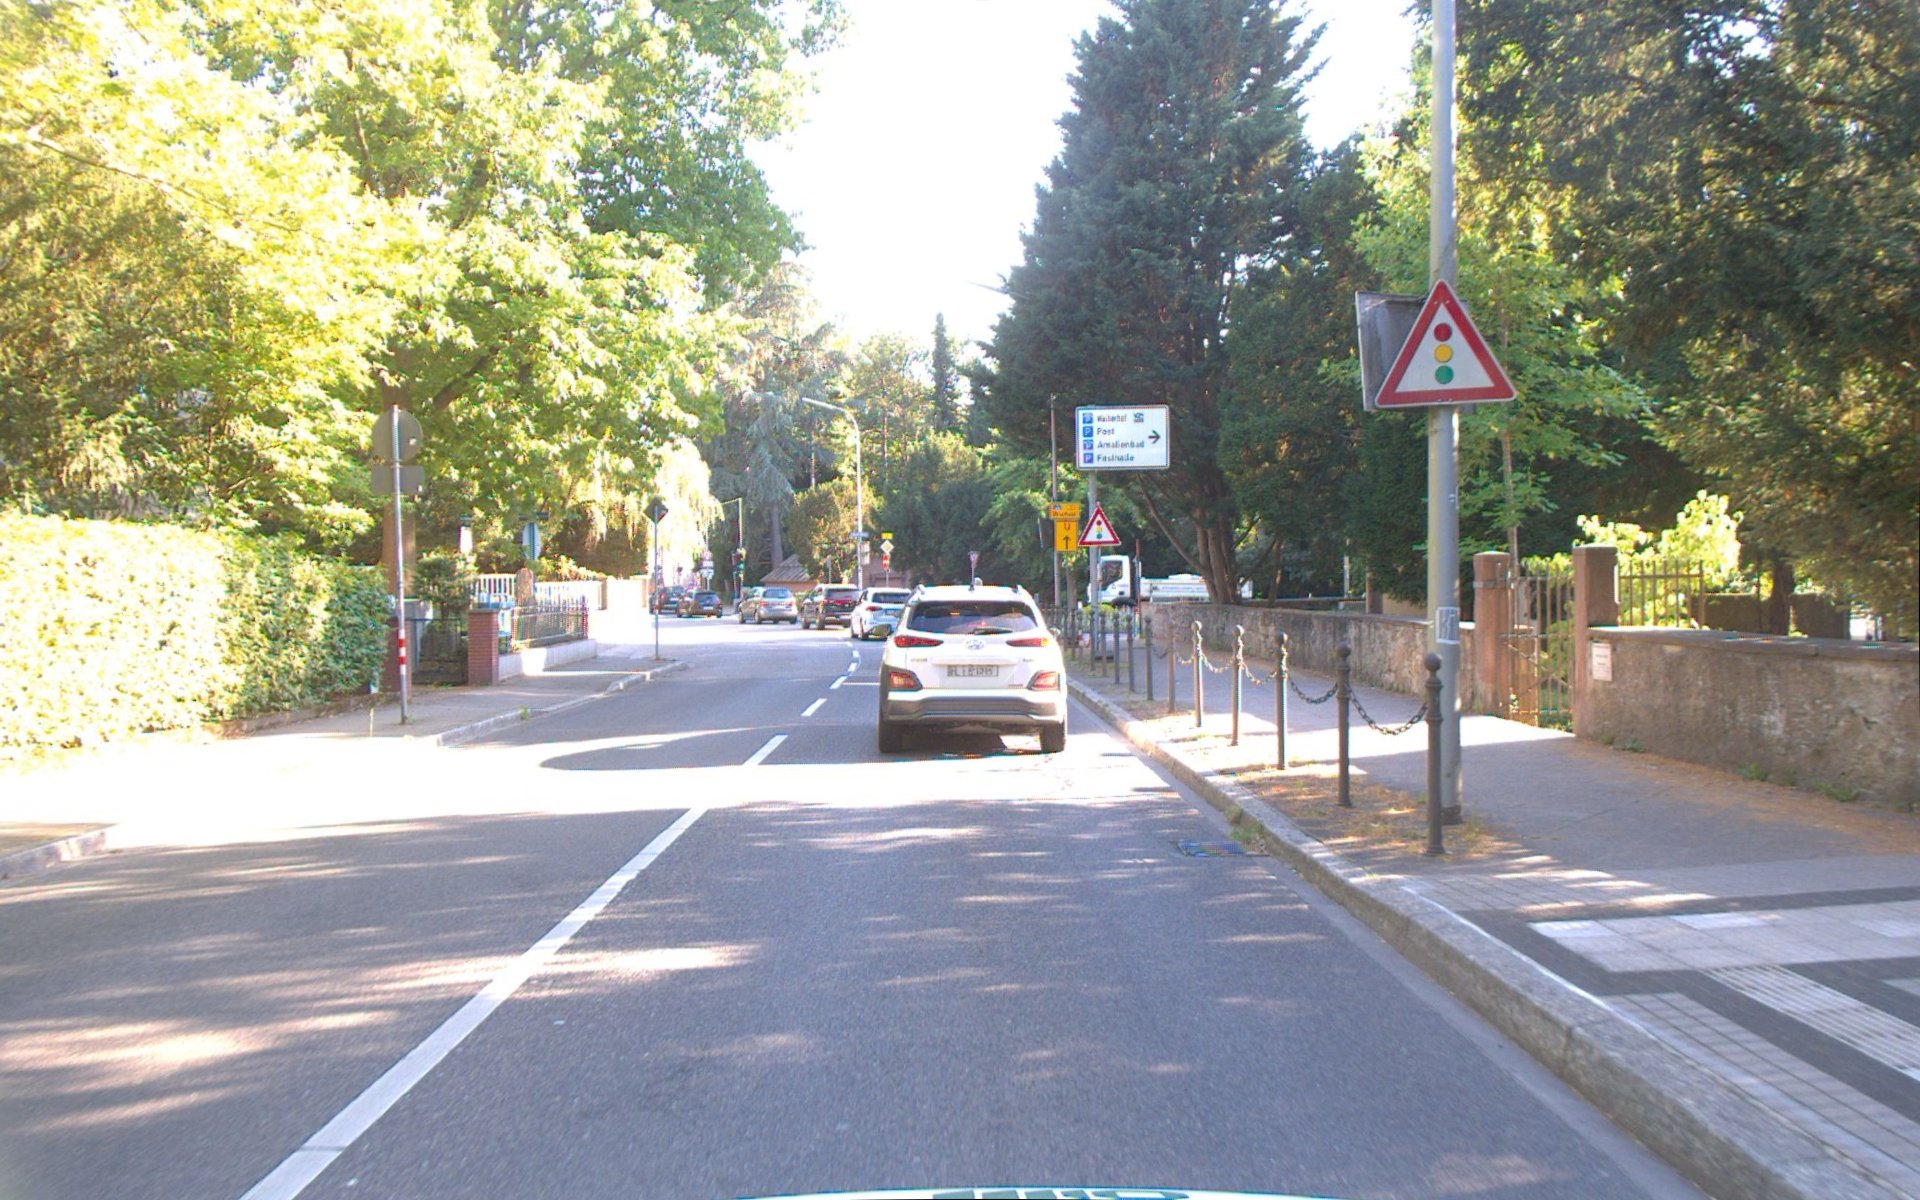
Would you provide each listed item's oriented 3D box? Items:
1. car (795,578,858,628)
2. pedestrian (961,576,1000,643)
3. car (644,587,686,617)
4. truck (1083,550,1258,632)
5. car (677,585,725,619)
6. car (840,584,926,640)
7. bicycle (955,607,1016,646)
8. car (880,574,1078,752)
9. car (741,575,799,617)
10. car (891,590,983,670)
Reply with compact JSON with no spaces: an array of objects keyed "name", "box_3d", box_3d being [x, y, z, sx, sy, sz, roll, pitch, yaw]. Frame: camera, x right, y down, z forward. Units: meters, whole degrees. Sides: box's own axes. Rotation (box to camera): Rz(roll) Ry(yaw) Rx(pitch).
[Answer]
[{"name":"car","box_3d":[-4.837,0.089,59.478,1.799,1.691,3.990,1,0,-11]},{"name":"pedestrian","box_3d":[0.575,0.261,47.059,0.934,1.858,0.547,1,2,-40]},{"name":"car","box_3d":[-17.185,0.111,96.327,1.804,1.691,3.978,1,0,-19]},{"name":"truck","box_3d":[7.949,-0.359,63.043,6.449,2.945,2.434,1,0,4]},{"name":"car","box_3d":[-13.322,0.084,85.001,1.803,1.691,3.979,1,0,-18]},{"name":"car","box_3d":[-2.310,0.319,48.794,1.775,1.564,3.985,1,0,-14]},{"name":"bicycle","box_3d":[0.728,0.756,47.530,1.799,1.061,0.554,1,2,-39]},{"name":"car","box_3d":[0.127,0.560,16.997,1.783,1.601,3.999,1,0,-2]},{"name":"car","box_3d":[-8.214,-0.187,71.336,1.802,1.771,3.982,1,0,-17]},{"name":"car","box_3d":[-0.471,0.540,32.765,1.673,1.459,4.364,1,0,-1]}]
